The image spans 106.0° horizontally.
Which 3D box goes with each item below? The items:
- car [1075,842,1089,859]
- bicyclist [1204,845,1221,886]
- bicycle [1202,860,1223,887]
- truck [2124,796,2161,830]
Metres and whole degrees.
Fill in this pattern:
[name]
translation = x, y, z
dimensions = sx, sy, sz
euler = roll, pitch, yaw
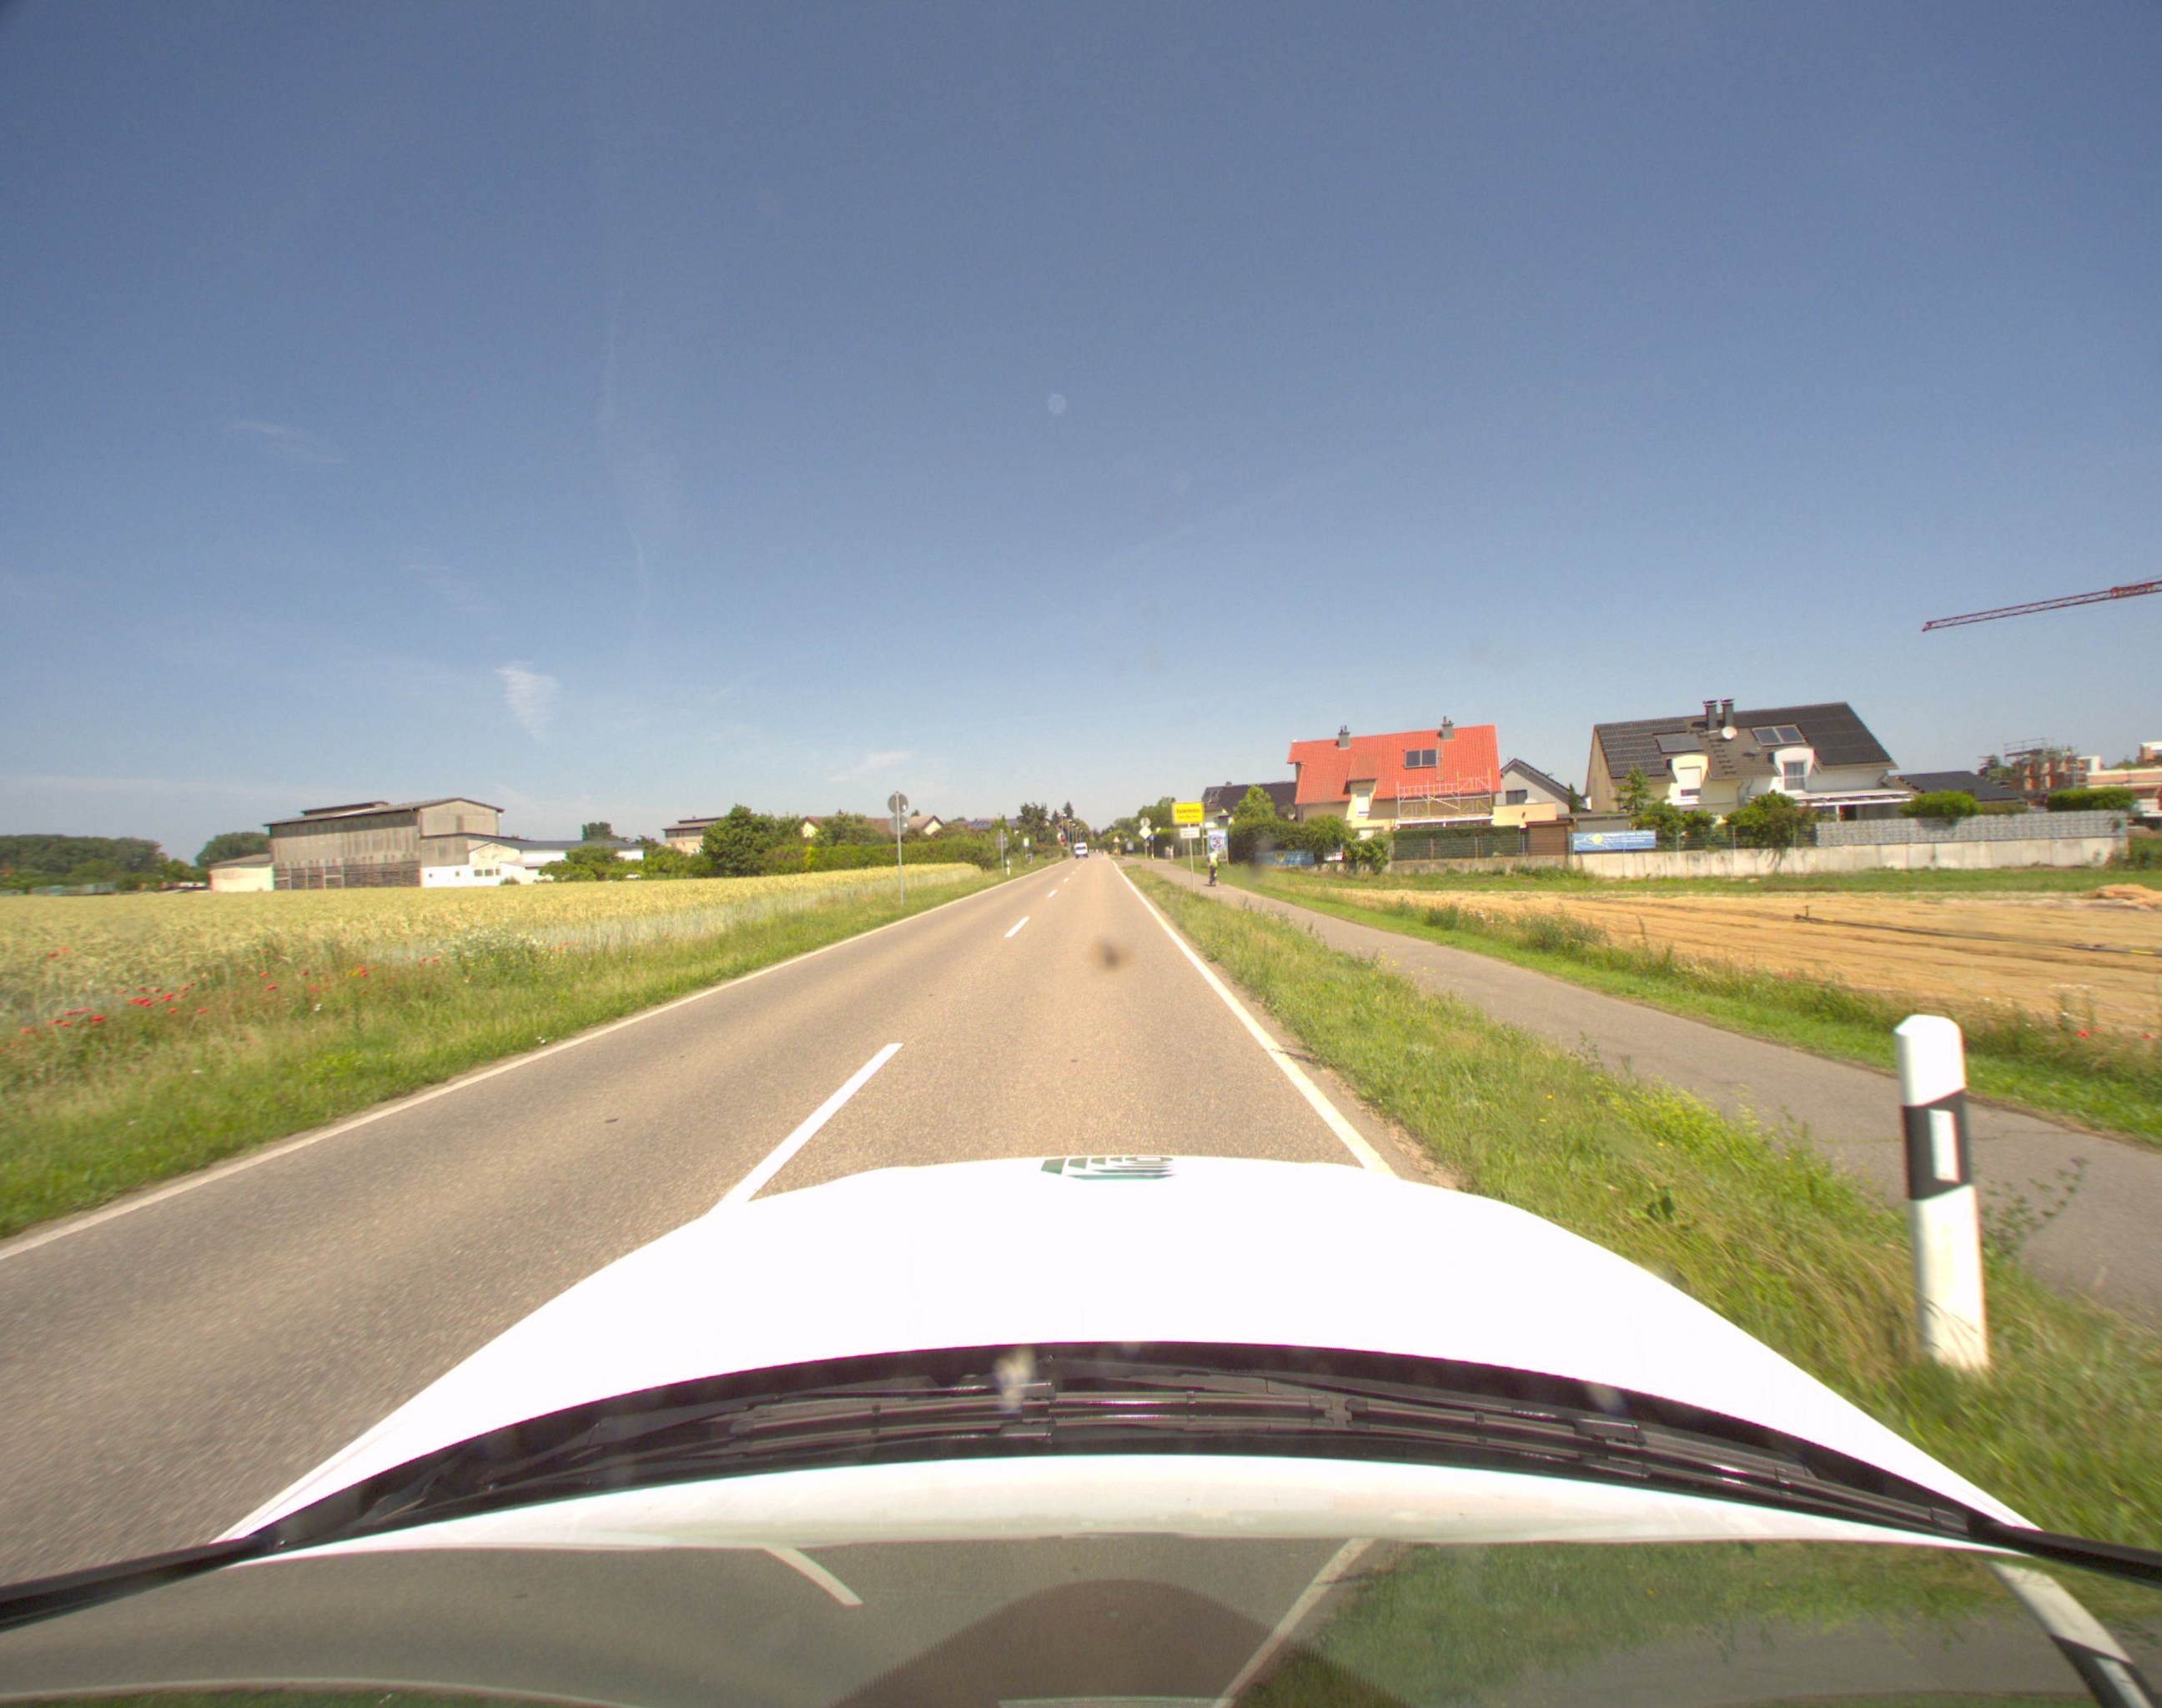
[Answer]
[car]
translation = 0.172, -0.612, 136.002
dimensions = 2.070, 2.542, 5.874
euler = -4, 1, 1
[bicyclist]
translation = 6.222, 0.522, 38.647
dimensions = 0.642, 1.889, 0.861
euler = -1, 1, 0
[bicycle]
translation = 6.224, 0.889, 38.639
dimensions = 0.608, 1.158, 2.274
euler = -1, 1, 1
[truck]
translation = 74.546, -2.888, 54.394
dimensions = 5.502, 2.230, 2.228
euler = -3, 0, 26
